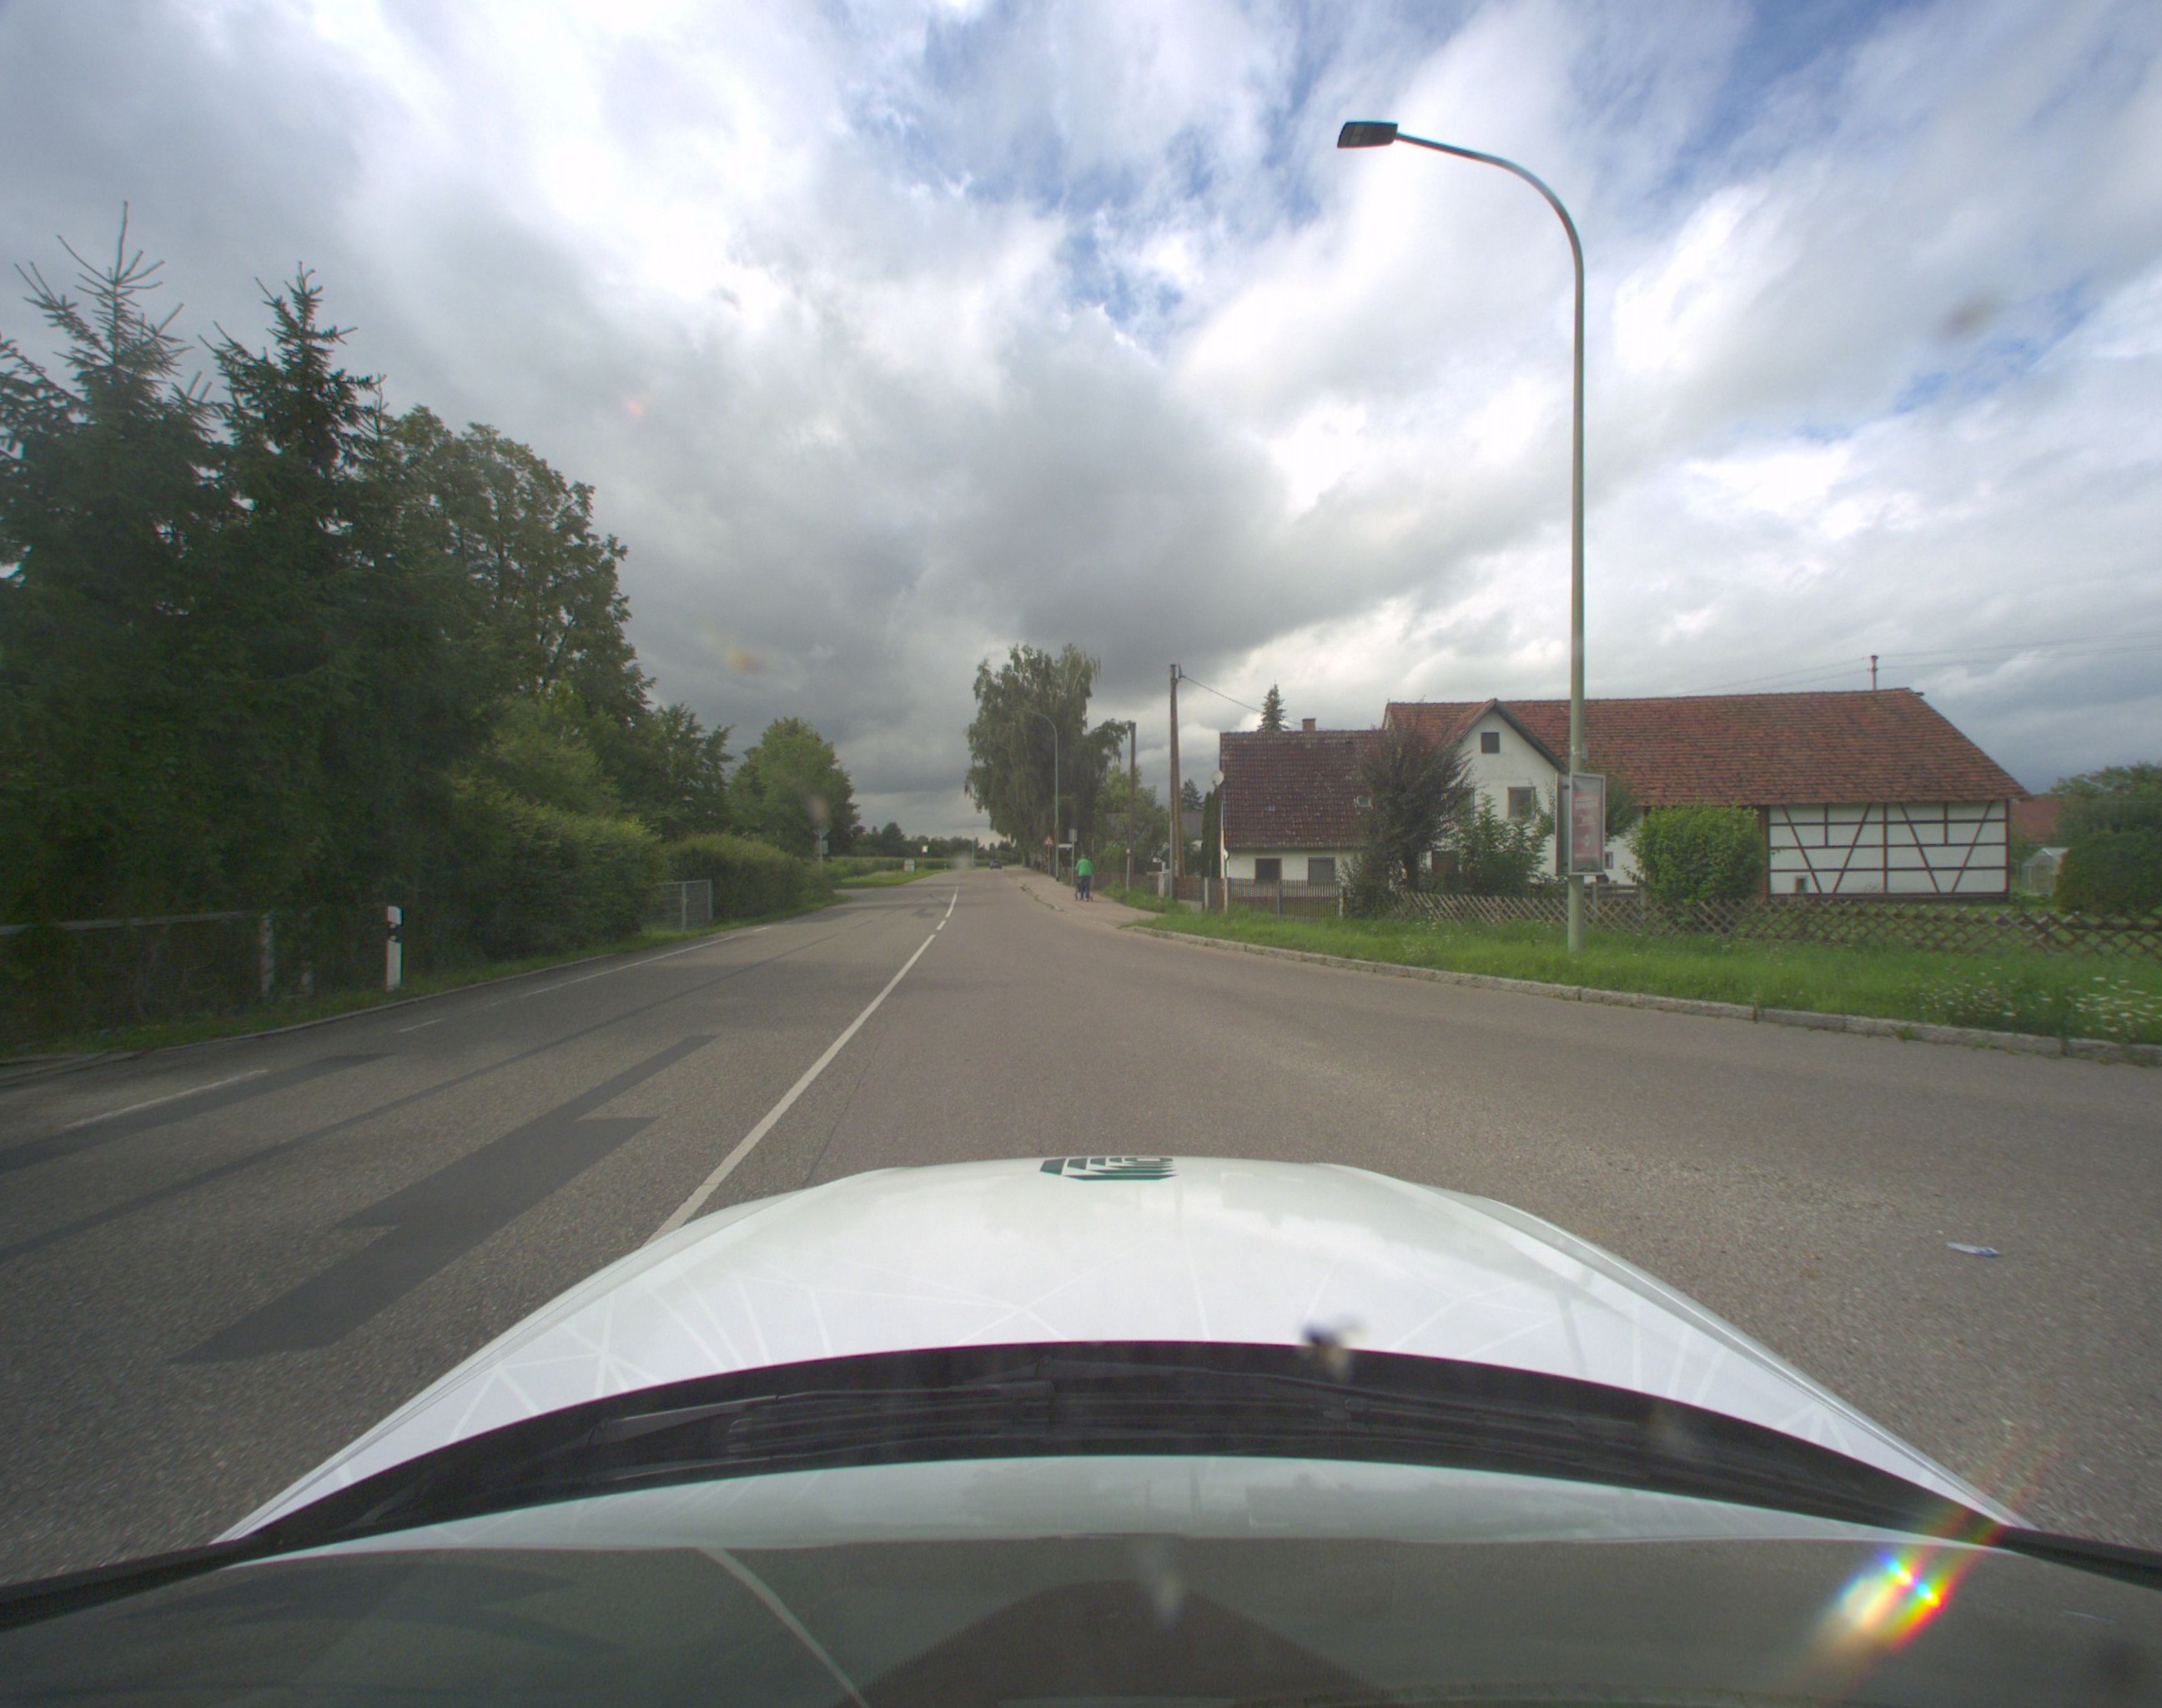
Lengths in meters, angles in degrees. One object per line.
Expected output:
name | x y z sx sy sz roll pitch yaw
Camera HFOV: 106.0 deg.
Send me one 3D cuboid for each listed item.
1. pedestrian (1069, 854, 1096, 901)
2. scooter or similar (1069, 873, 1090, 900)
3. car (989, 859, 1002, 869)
pedestrian | 0.047 0.840 29.468 0.788 1.665 0.710 4 -1 -10
scooter or similar | -0.049 1.197 30.157 0.630 0.948 0.620 4 -1 -10
car | -14.427 1.676 137.228 1.992 1.552 3.989 0 0 -8
